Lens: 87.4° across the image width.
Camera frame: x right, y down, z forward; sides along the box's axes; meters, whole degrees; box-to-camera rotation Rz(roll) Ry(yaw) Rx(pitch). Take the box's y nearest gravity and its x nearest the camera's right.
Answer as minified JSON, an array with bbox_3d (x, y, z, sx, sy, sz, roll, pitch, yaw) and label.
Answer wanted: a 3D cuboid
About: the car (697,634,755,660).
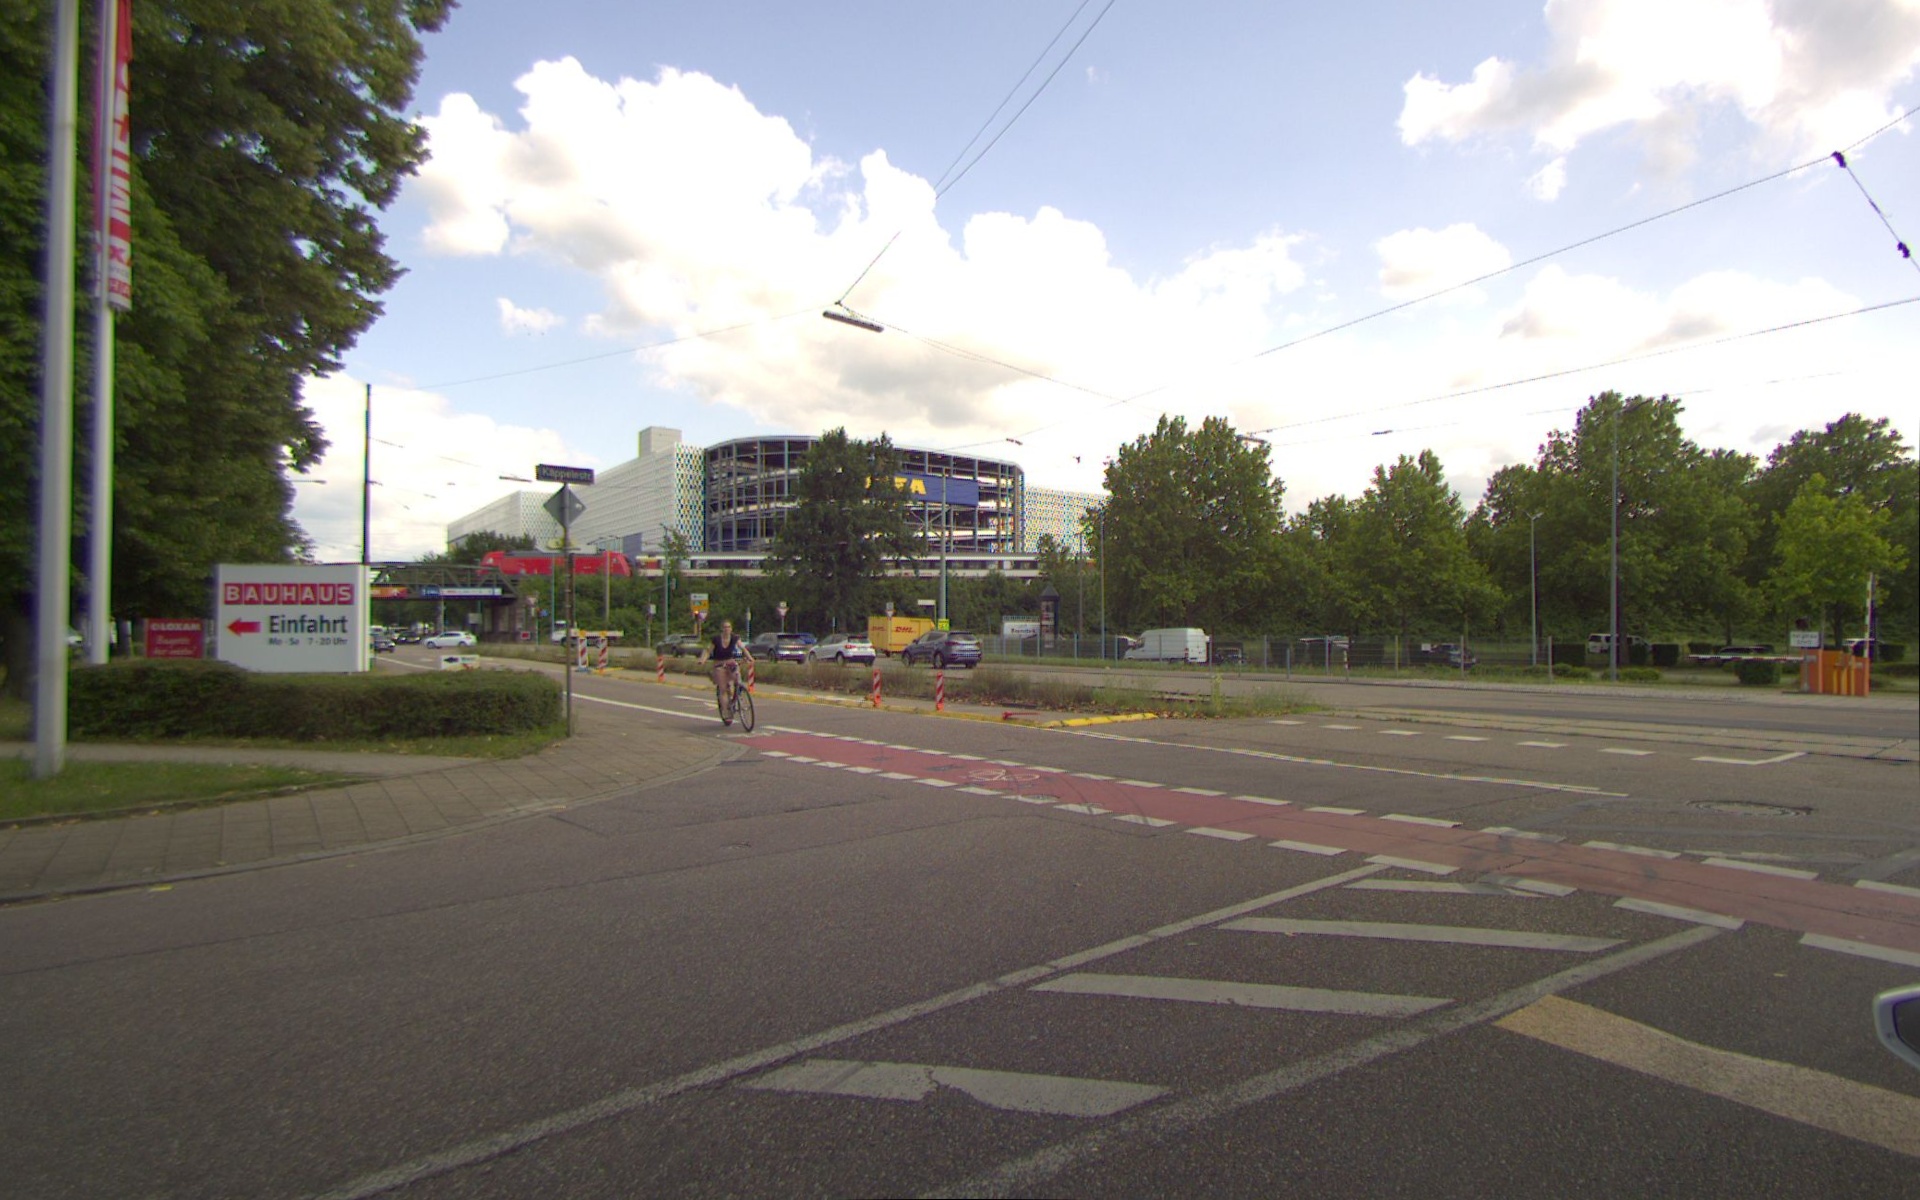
[{"bbox_3d":[-13.591,2.680,58.254,1.782,1.424,3.987,1,-2,-38],"label":"car"}]

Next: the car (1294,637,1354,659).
[{"bbox_3d":[29.835,3.942,82.487,4.181,1.706,1.999,0,-1,-5],"label":"car"}]

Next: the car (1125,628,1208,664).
[{"bbox_3d":[13.053,2.890,63.849,1.783,2.240,5.243,2,-2,-39],"label":"car"}]

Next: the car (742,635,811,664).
[{"bbox_3d":[-9.708,2.557,52.950,1.907,1.424,4.188,1,-2,-38],"label":"car"}]

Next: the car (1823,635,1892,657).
[{"bbox_3d":[76.049,3.882,85.125,4.217,1.744,1.919,0,-1,-4],"label":"car"}]

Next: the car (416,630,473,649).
[{"bbox_3d":[-43.891,3.357,85.596,3.923,1.577,1.874,0,-1,-4],"label":"car"}]

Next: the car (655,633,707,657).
[{"bbox_3d":[-17.489,2.784,62.893,1.782,1.424,3.987,1,-2,-38],"label":"car"}]

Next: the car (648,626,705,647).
[{"bbox_3d":[-23.968,3.079,84.923,4.299,1.814,1.919,0,-1,-4],"label":"car"}]

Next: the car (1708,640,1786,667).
[{"bbox_3d":[52.581,3.546,67.200,1.873,1.724,3.998,0,-1,-5],"label":"car"}]

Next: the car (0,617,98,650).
[{"bbox_3d":[-70.335,2.599,77.258,5.795,2.474,2.366,0,-1,-3],"label":"car"}]

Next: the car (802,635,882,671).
[{"bbox_3d":[-5.615,2.467,47.472,1.907,1.600,4.188,1,-2,-38],"label":"car"}]

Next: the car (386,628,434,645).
[{"bbox_3d":[-57.804,3.863,105.610,3.921,1.808,1.892,0,-2,0],"label":"car"}]

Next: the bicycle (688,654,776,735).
[{"bbox_3d":[-3.673,1.470,16.069,0.723,1.181,1.797,-1,-2,-35],"label":"bicycle"}]

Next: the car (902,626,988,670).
[{"bbox_3d":[-0.729,2.090,44.948,1.947,1.839,4.238,1,-2,-32],"label":"car"}]

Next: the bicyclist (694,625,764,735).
[{"bbox_3d":[-3.715,1.255,16.120,0.727,1.669,1.000,-1,-1,-36],"label":"bicyclist"}]

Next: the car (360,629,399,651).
[{"bbox_3d":[-41.679,2.855,72.073,1.854,1.505,3.955,1,-2,-39],"label":"car"}]

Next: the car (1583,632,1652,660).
[{"bbox_3d":[53.030,3.708,81.104,4.482,2.163,1.860,0,-1,-5],"label":"car"}]

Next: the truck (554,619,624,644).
[{"bbox_3d":[-33.959,2.881,91.950,5.626,2.319,2.033,0,-1,-4],"label":"truck"}]

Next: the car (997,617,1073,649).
[{"bbox_3d":[5.959,2.635,80.018,5.795,2.474,2.211,0,-1,-3],"label":"car"}]

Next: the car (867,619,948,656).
[{"bbox_3d":[-3.743,2.728,73.597,2.173,2.612,6.374,-1,-2,40],"label":"car"}]

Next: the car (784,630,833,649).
[{"bbox_3d":[-13.100,3.434,86.920,3.922,1.577,1.874,0,-1,-1],"label":"car"}]

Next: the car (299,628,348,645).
[{"bbox_3d":[-66.642,3.814,105.252,3.921,1.808,1.892,0,-2,0],"label":"car"}]
